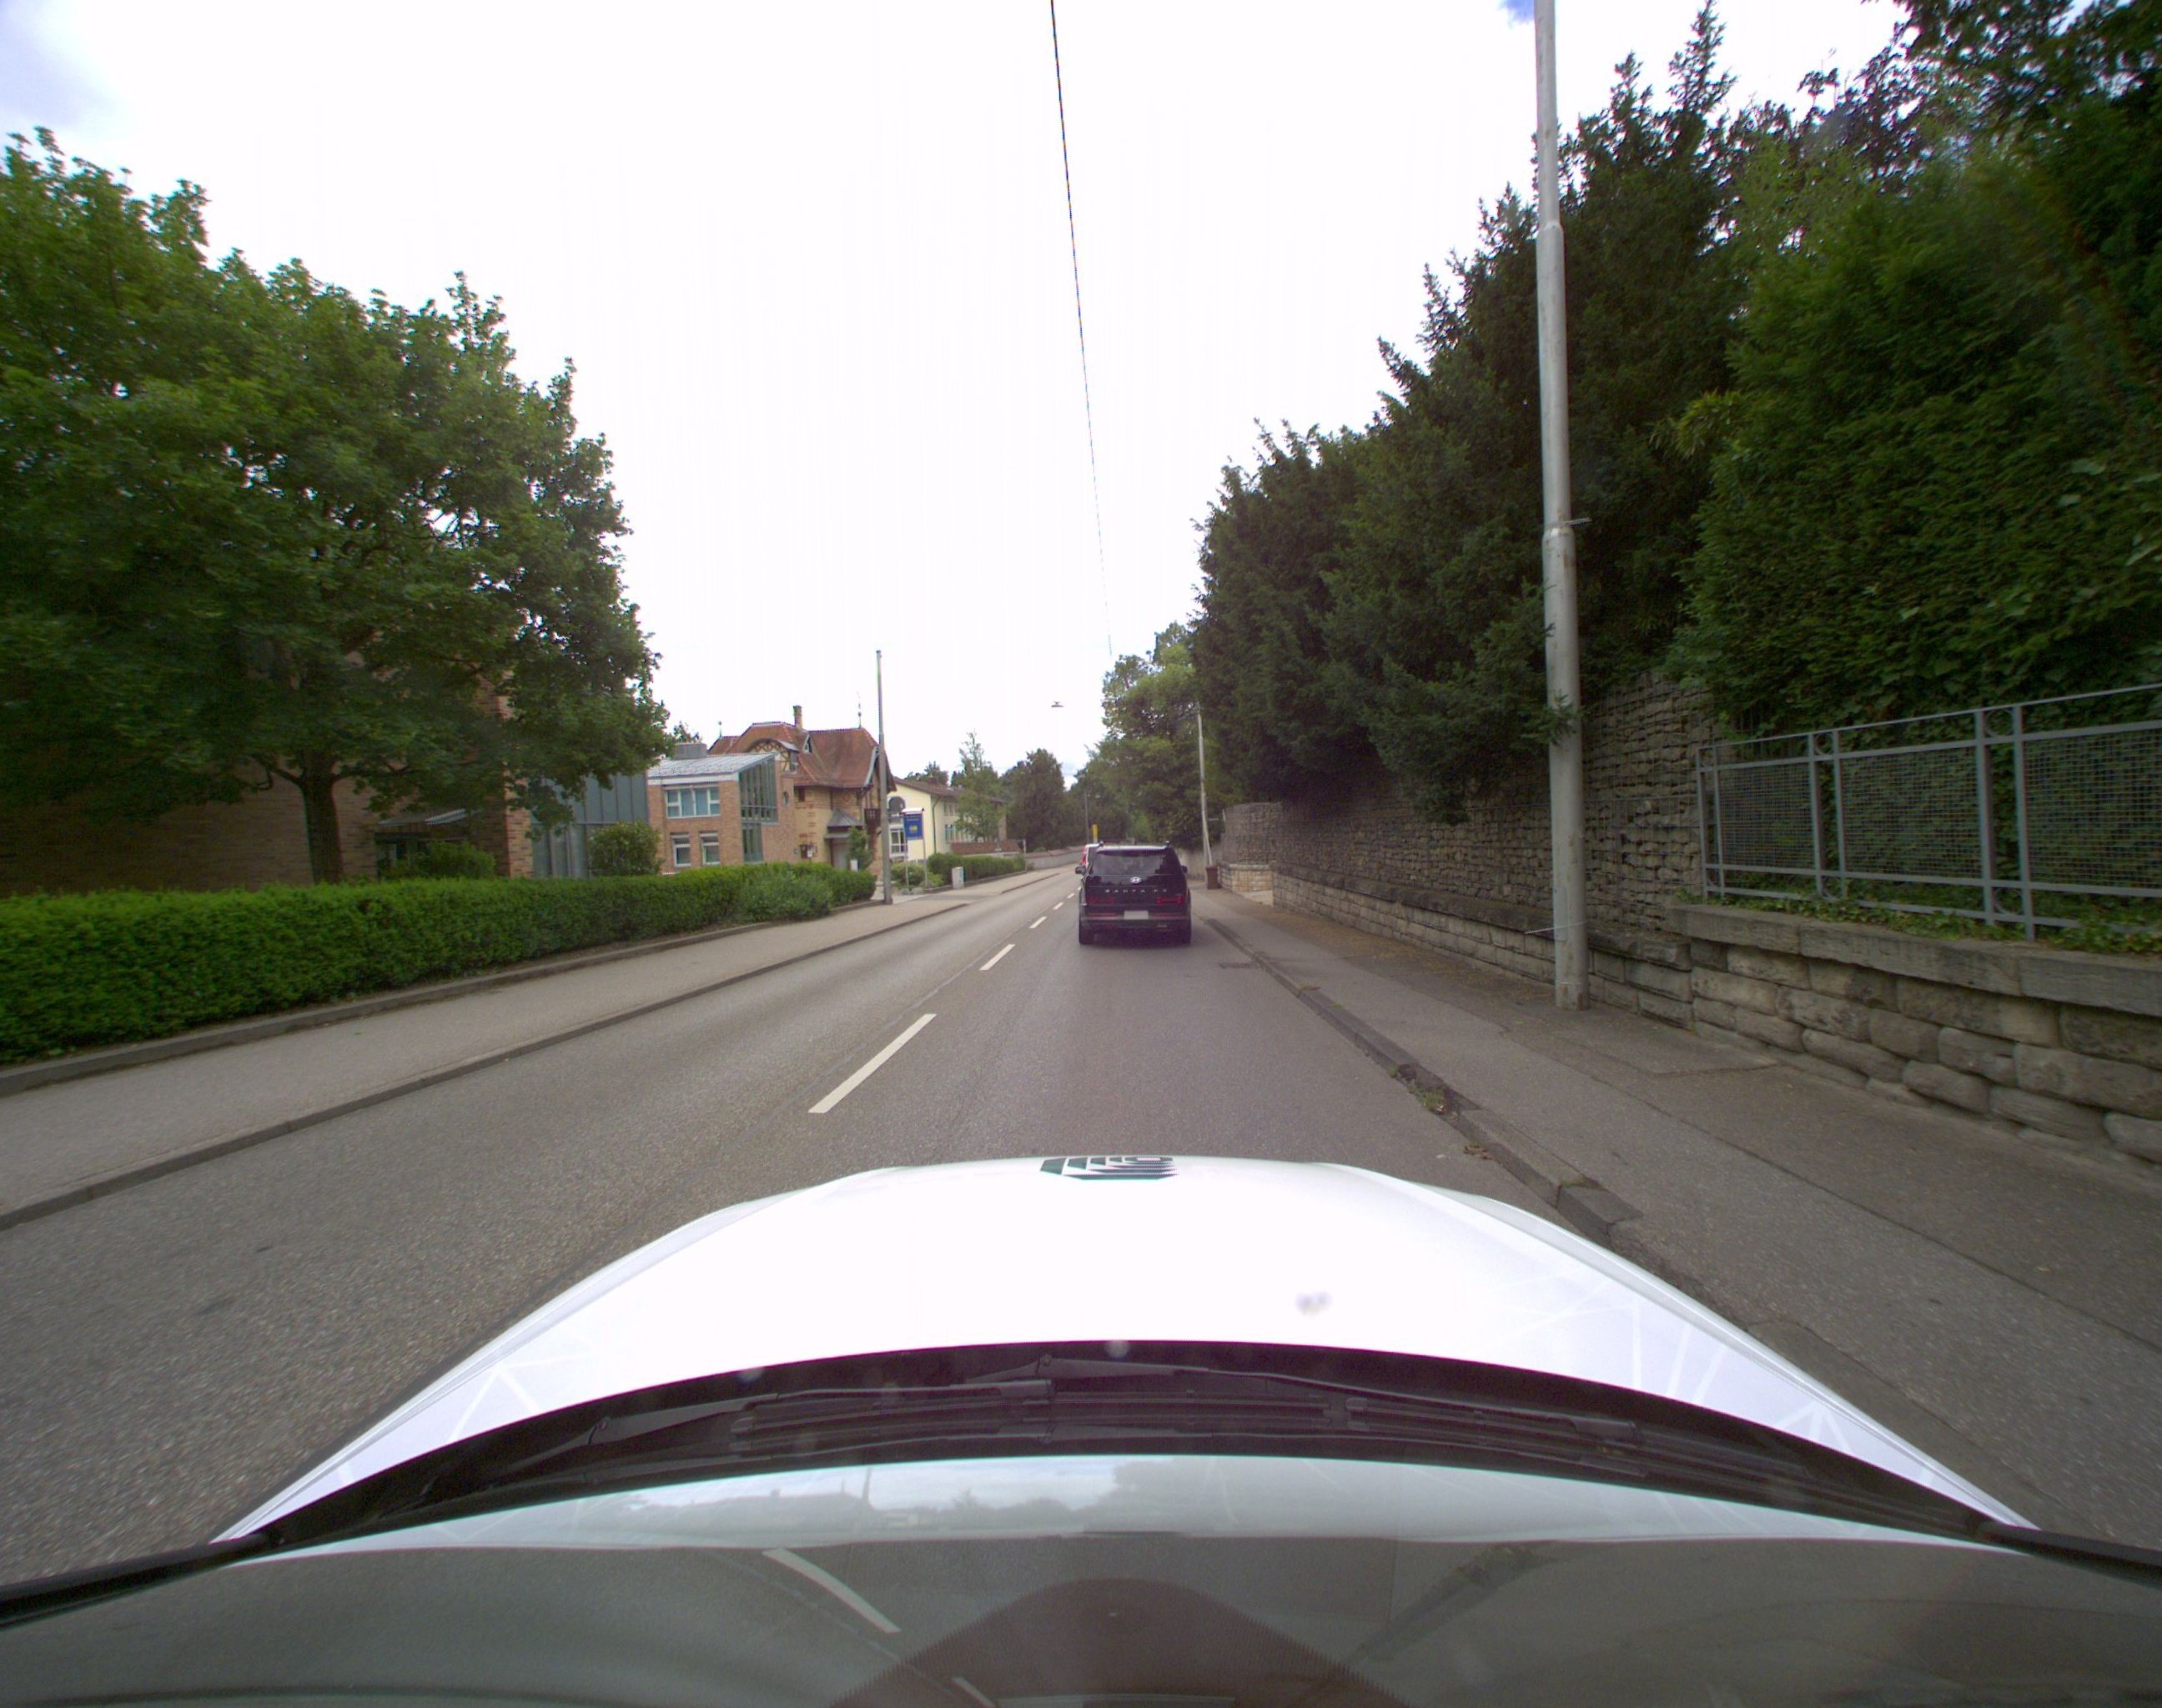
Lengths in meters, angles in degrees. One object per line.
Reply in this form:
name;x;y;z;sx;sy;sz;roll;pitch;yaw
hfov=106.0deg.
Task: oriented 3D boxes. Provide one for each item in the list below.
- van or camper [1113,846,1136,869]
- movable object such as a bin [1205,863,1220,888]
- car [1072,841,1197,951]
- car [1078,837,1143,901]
van or camper;4.311;0.348;79.817;1.665;2.007;3.950;-3;1;11
movable object such as a bin;4.952;0.808;30.672;0.442;0.910;0.395;-6;-1;12
car;0.956;0.634;14.845;1.949;1.713;4.227;0;0;3
car;0.941;0.485;27.917;1.951;1.956;4.221;-2;0;-1
